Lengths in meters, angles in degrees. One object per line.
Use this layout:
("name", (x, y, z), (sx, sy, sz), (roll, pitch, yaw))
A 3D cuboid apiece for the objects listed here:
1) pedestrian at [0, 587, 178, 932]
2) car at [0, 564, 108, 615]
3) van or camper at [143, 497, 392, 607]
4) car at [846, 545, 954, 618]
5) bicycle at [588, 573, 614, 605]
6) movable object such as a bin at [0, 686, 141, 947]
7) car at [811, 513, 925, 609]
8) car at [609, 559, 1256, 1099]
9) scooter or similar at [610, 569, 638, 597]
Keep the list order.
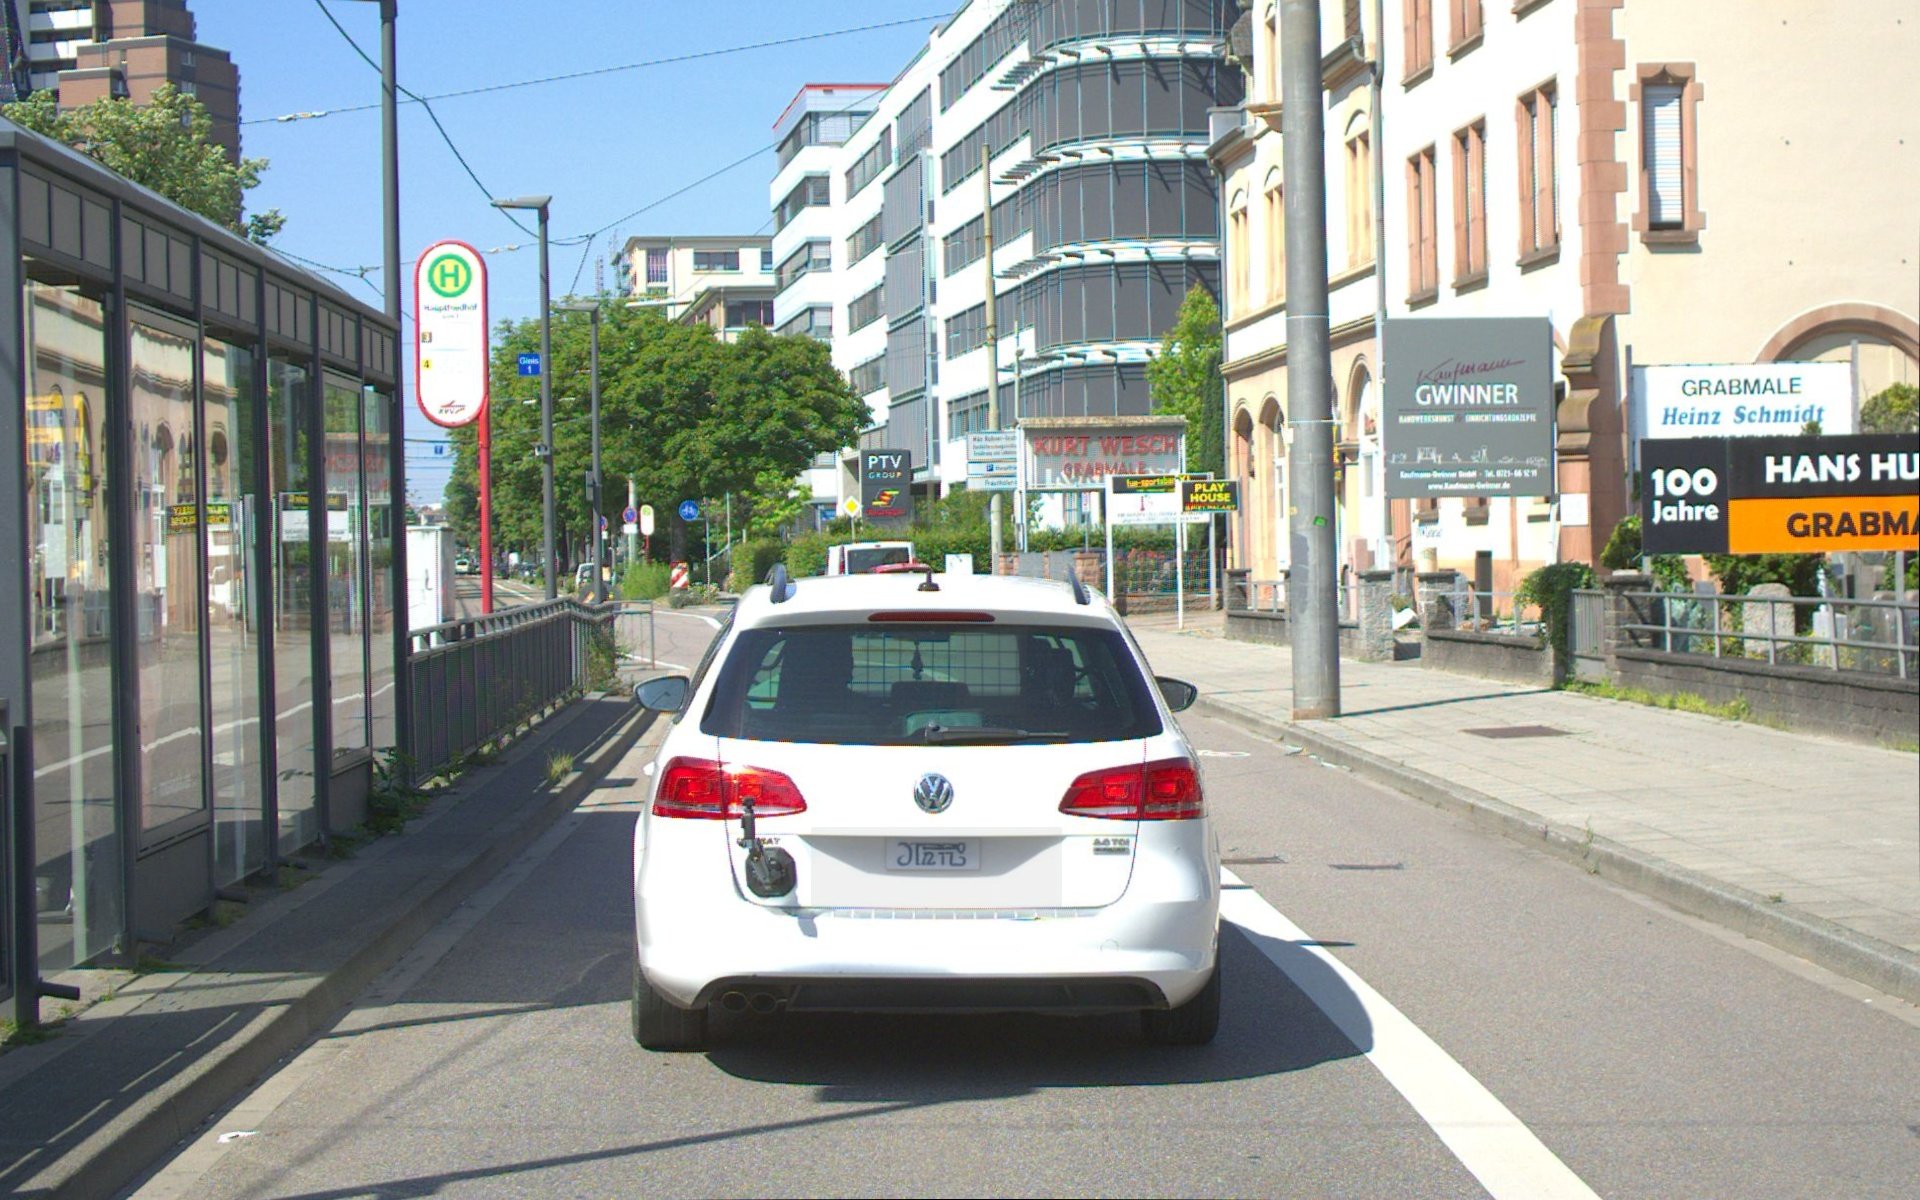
("pedestrian", (-3.377, 0.590, 13.062), (0.629, 1.250, 0.710), (-2, 1, -2))
("car", (-30.843, -0.342, 114.536), (1.947, 1.619, 4.569), (0, 1, 36))
("van or camper", (-19.942, -1.386, 98.916), (6.700, 2.957, 2.613), (2, 0, 25))
("car", (-1.314, -0.399, 73.499), (1.721, 1.438, 4.313), (-3, 1, -8))
("bicycle", (-12.344, -0.377, 118.259), (0.811, 1.074, 2.012), (-1, 1, -8))
("movable object such as a bin", (-3.353, 0.778, 12.467), (0.629, 0.897, 0.489), (-2, 1, -2))
("car", (-2.169, -0.901, 79.863), (1.976, 2.047, 5.192), (-3, 1, -8))
("car", (-0.177, 0.602, 11.569), (1.753, 1.437, 4.413), (0, 1, -3))
("scooter or similar", (-14.187, -0.715, 145.151), (1.142, 1.150, 0.493), (-1, 0, -2))
